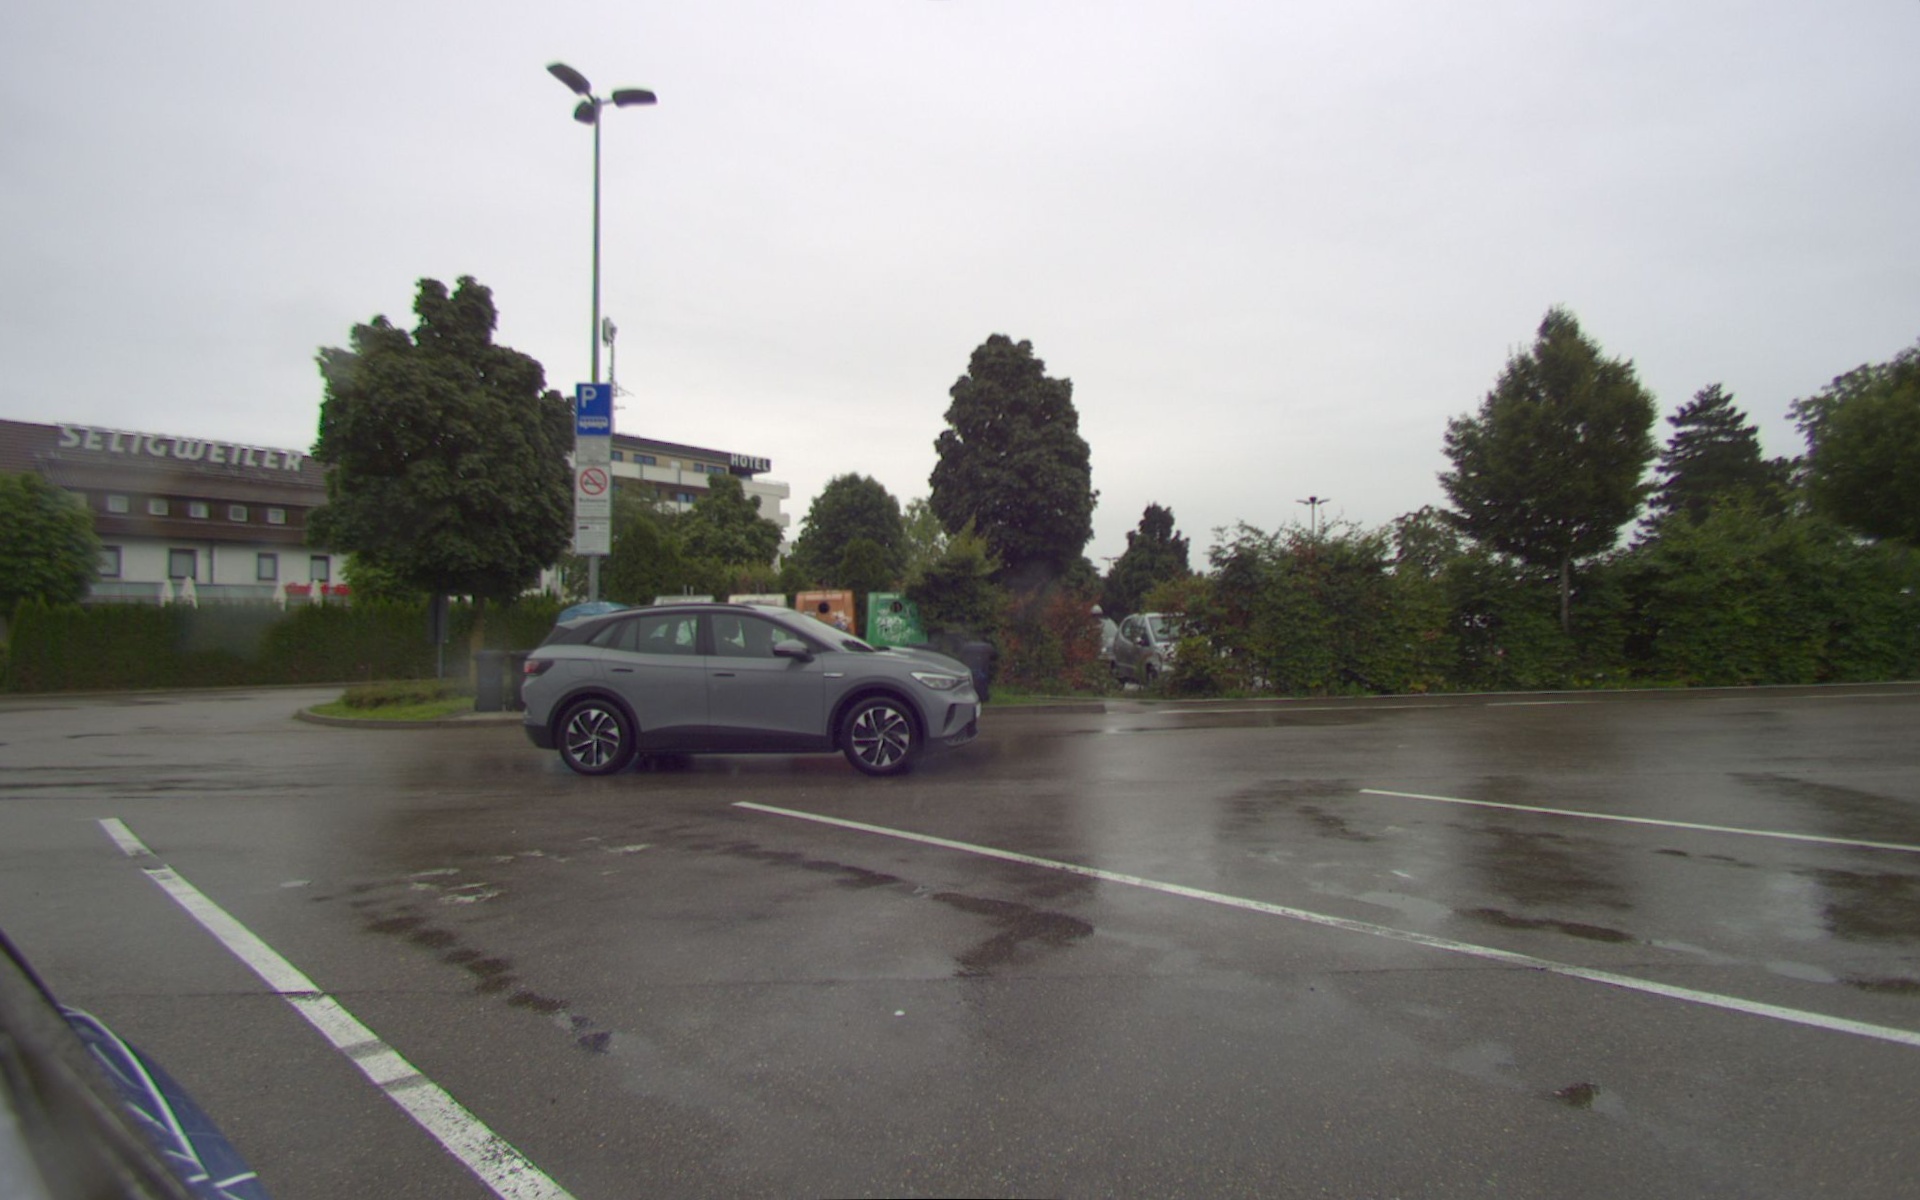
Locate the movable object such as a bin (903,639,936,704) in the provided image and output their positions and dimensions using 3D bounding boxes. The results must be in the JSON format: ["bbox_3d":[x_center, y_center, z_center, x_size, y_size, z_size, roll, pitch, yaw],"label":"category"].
[{"bbox_3d":[-0.602,1.049,15.015,0.432,0.930,0.508,-2,-2,1],"label":"movable object such as a bin"}]

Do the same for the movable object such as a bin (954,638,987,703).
[{"bbox_3d":[0.148,1.020,14.748,0.432,0.923,0.509,-2,-2,-1],"label":"movable object such as a bin"}]

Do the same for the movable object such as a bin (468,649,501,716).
[{"bbox_3d":[-7.162,1.237,15.259,0.427,0.956,0.474,-1,-1,-25],"label":"movable object such as a bin"}]

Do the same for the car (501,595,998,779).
[{"bbox_3d":[-1.927,0.821,10.085,4.446,1.586,1.996,-2,-1,7],"label":"car"}]

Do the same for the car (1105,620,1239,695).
[{"bbox_3d":[4.005,1.048,19.702,1.782,1.278,3.647,-1,-1,0],"label":"car"}]

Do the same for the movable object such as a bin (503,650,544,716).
[{"bbox_3d":[-6.560,1.232,15.222,0.450,0.956,0.400,-2,-1,41],"label":"movable object such as a bin"}]
